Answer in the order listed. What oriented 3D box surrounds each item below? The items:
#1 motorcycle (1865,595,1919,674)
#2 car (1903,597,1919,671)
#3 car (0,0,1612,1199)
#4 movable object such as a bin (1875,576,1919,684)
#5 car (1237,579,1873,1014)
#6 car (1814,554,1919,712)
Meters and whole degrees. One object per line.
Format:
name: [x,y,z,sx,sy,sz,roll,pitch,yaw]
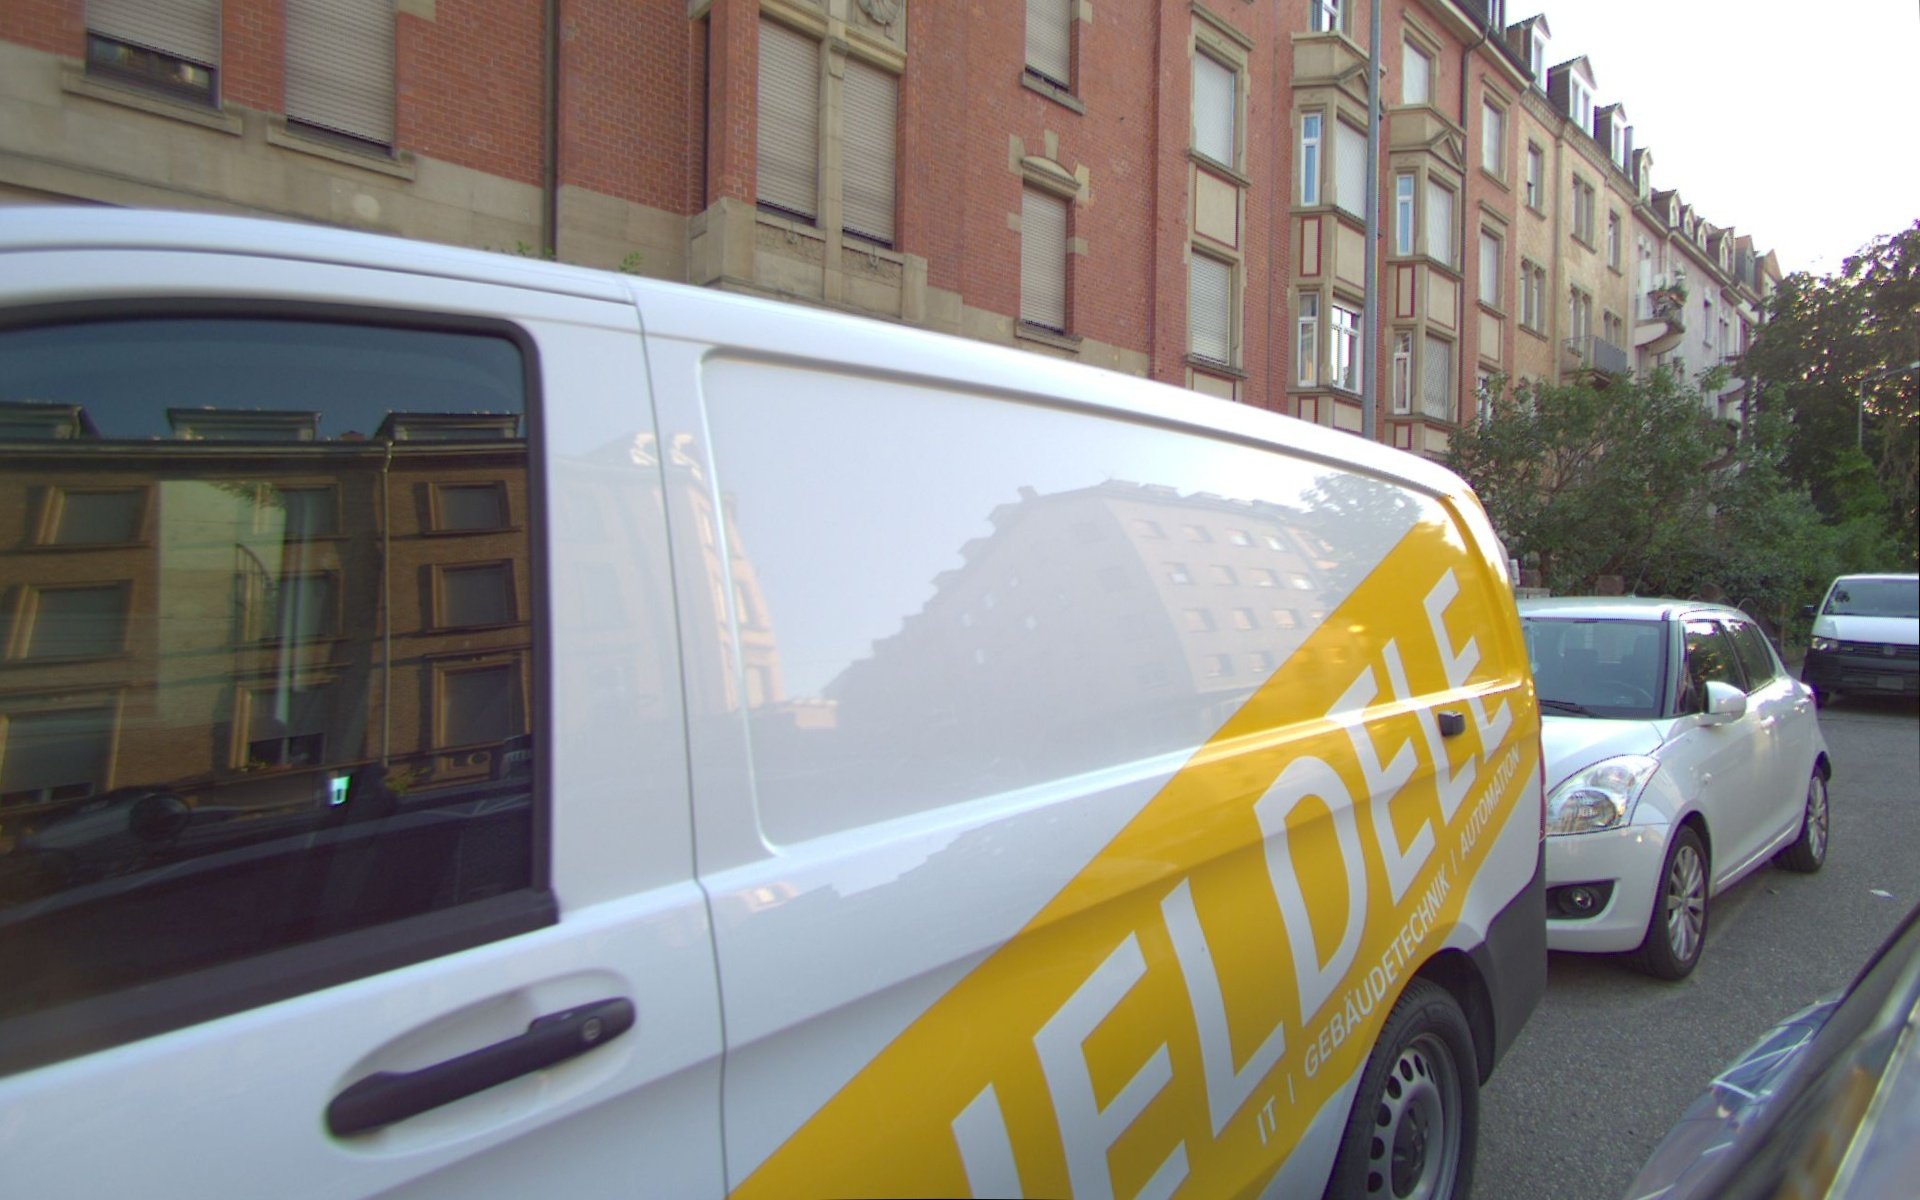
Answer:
motorcycle: [19.472,0.705,19.954,2.066,1.500,1.128,2,2,16]
car: [22.529,0.732,22.531,4.248,1.570,1.723,0,0,-40]
car: [-0.730,0.465,1.749,4.995,1.907,1.896,0,0,-42]
movable object such as a bin: [18.003,0.554,18.647,2.285,1.901,1.414,0,3,-42]
car: [3.306,0.664,5.335,3.792,1.496,1.678,0,0,-39]
car: [14.538,0.434,15.230,5.451,2.064,1.864,0,3,-43]
